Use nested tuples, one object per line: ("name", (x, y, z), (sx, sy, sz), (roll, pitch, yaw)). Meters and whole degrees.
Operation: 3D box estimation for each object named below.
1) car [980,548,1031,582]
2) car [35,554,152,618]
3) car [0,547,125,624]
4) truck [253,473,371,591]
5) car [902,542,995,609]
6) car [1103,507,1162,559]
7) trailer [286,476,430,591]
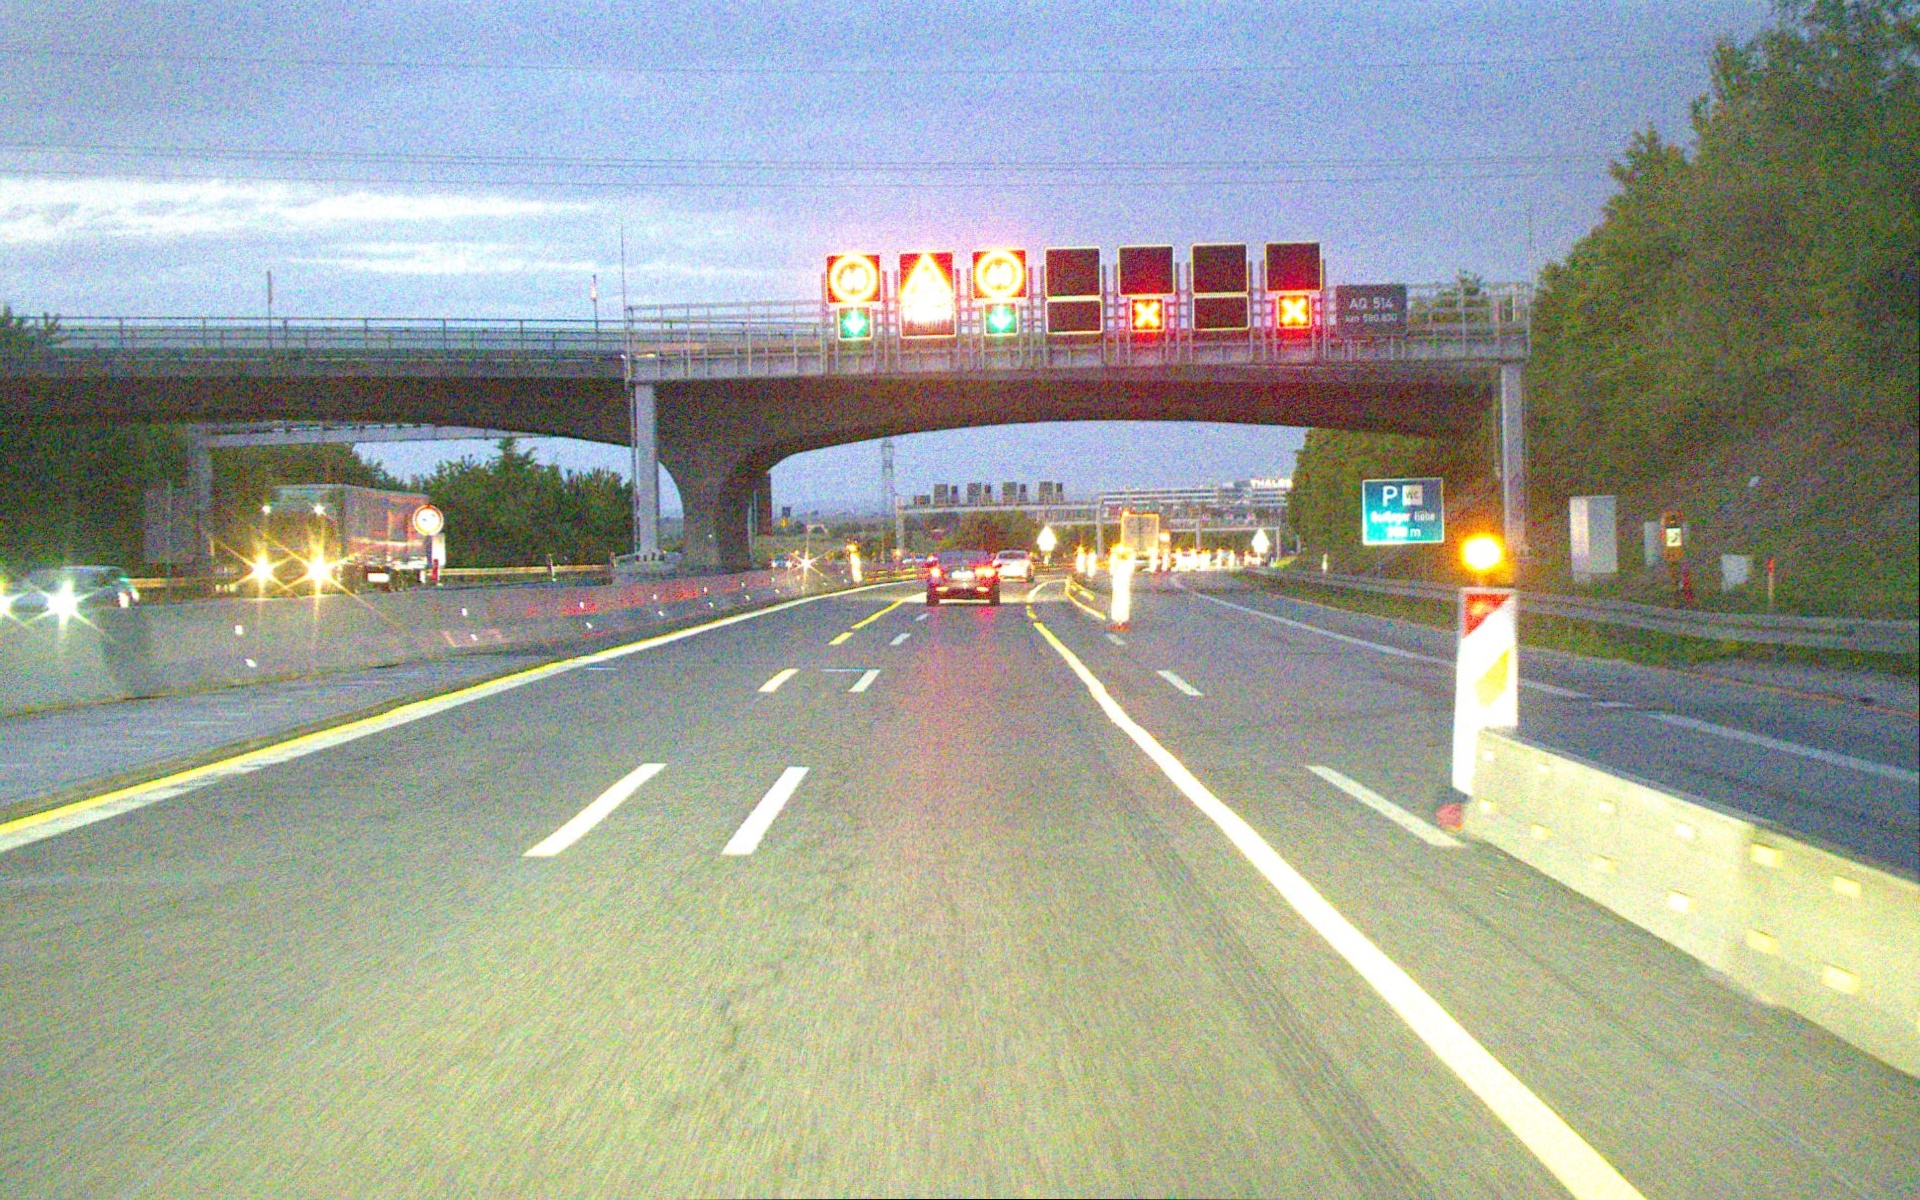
("car", (1.982, -1.509, 149.696), (1.972, 1.432, 3.999), (1, 1, 4))
("car", (-22.771, -0.390, 90.501), (1.591, 1.598, 5.033), (1, 1, 3))
("car", (-20.193, -0.334, 76.874), (1.736, 1.632, 4.891), (1, 1, 1))
("truck", (-23.704, -2.466, 126.049), (2.777, 4.157, 6.385), (1, 0, 3))
("car", (-0.325, -0.639, 88.631), (2.265, 1.616, 4.000), (1, 1, -2))
("car", (11.821, -4.591, 236.534), (3.605, 3.384, 8.014), (1, 1, 0))
("trailer", (-23.319, -2.531, 133.881), (2.779, 4.191, 12.401), (1, 1, 3))
